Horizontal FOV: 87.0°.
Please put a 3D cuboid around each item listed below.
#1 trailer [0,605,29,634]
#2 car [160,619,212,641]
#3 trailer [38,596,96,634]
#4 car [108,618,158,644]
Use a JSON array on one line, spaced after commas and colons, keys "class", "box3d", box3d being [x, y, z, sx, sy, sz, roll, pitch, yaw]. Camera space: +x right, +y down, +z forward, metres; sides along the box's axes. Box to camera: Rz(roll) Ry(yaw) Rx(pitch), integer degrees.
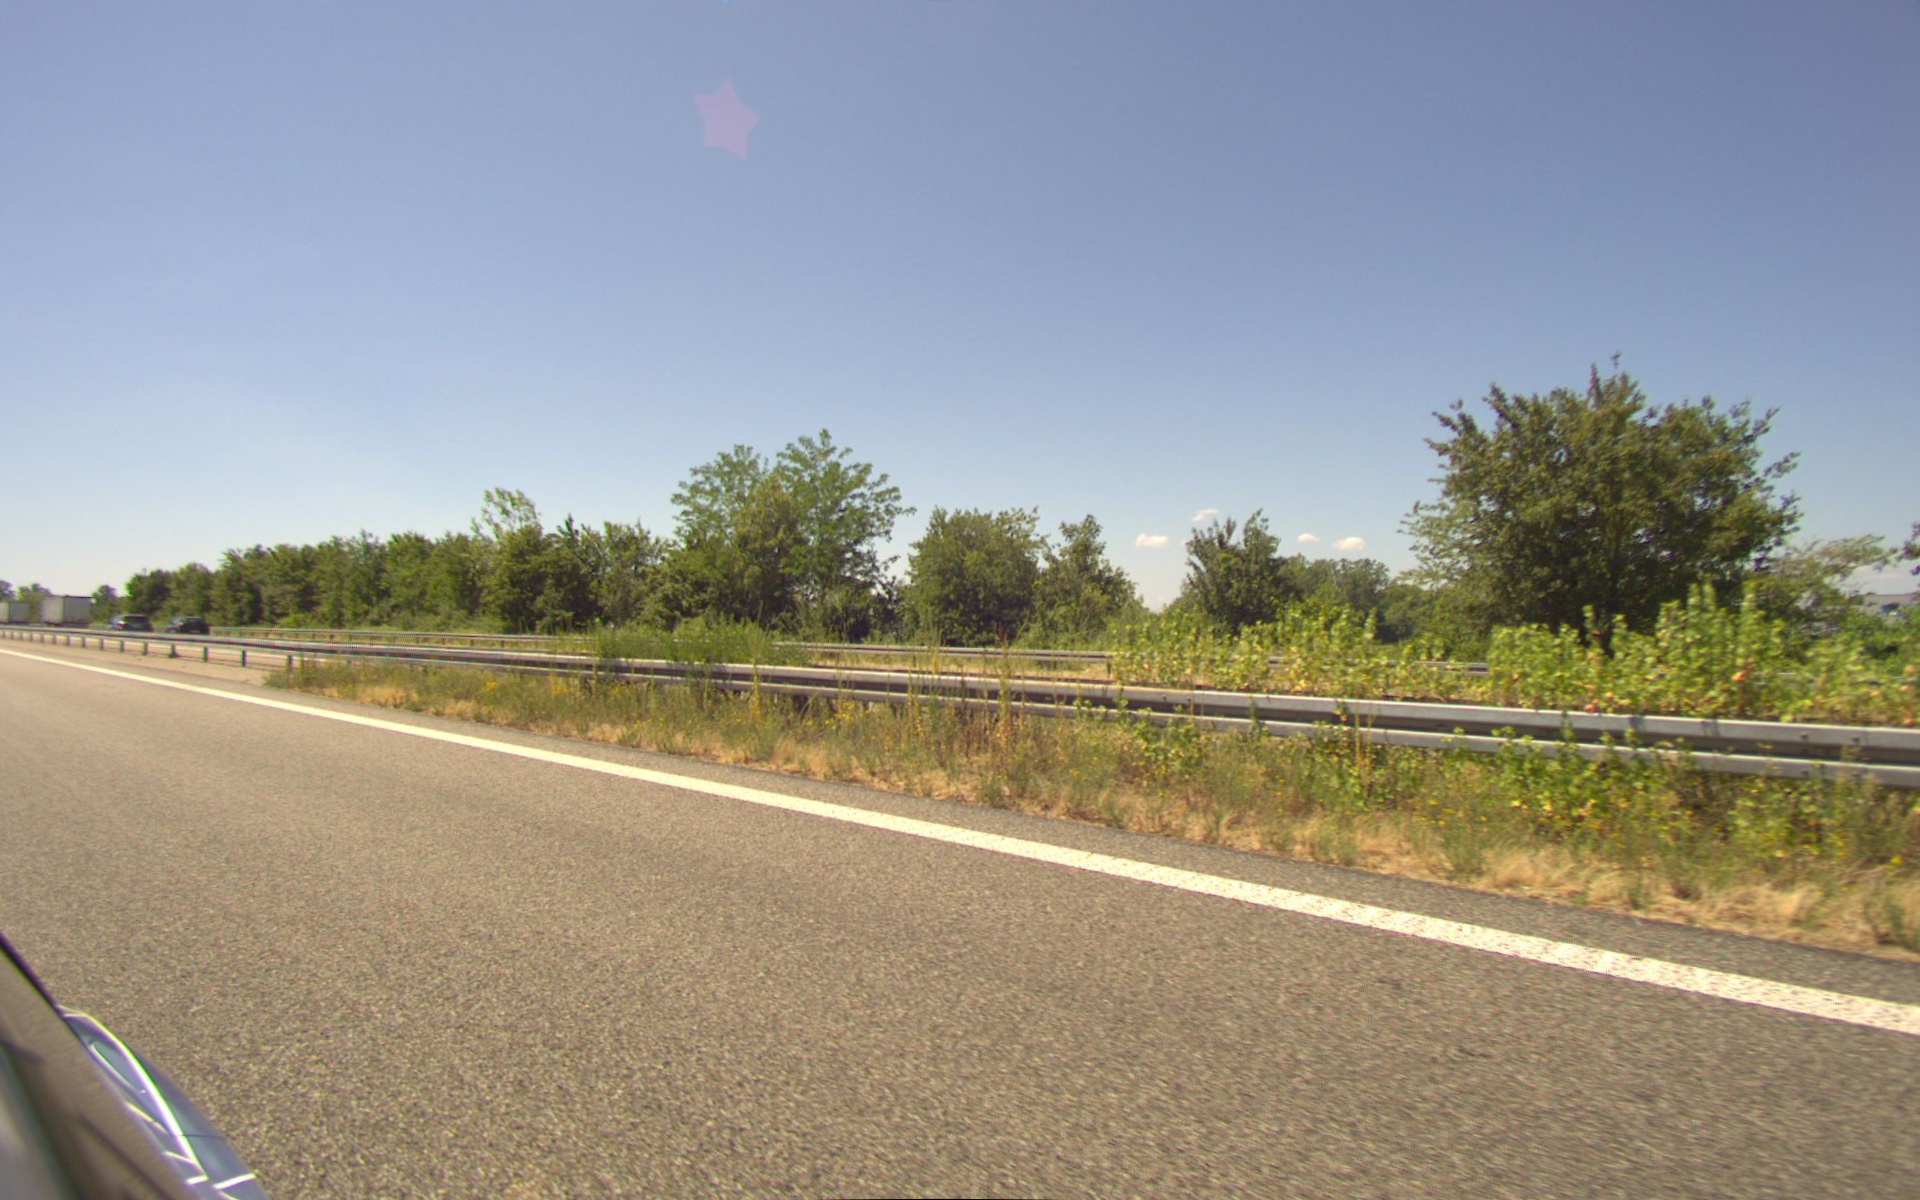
[{"class": "trailer", "box3d": [-146.304, 3.087, 155.458, 13.532, 4.218, 3.314, -2, -3, 41]}, {"class": "car", "box3d": [-51.719, 2.009, 67.586, 4.529, 1.412, 1.843, -1, -3, 41]}, {"class": "trailer", "box3d": [-106.124, 1.863, 120.194, 13.532, 4.218, 3.263, -2, -3, 41]}, {"class": "car", "box3d": [-48.166, 1.794, 58.912, 4.044, 1.473, 1.537, -1, -2, 41]}]
